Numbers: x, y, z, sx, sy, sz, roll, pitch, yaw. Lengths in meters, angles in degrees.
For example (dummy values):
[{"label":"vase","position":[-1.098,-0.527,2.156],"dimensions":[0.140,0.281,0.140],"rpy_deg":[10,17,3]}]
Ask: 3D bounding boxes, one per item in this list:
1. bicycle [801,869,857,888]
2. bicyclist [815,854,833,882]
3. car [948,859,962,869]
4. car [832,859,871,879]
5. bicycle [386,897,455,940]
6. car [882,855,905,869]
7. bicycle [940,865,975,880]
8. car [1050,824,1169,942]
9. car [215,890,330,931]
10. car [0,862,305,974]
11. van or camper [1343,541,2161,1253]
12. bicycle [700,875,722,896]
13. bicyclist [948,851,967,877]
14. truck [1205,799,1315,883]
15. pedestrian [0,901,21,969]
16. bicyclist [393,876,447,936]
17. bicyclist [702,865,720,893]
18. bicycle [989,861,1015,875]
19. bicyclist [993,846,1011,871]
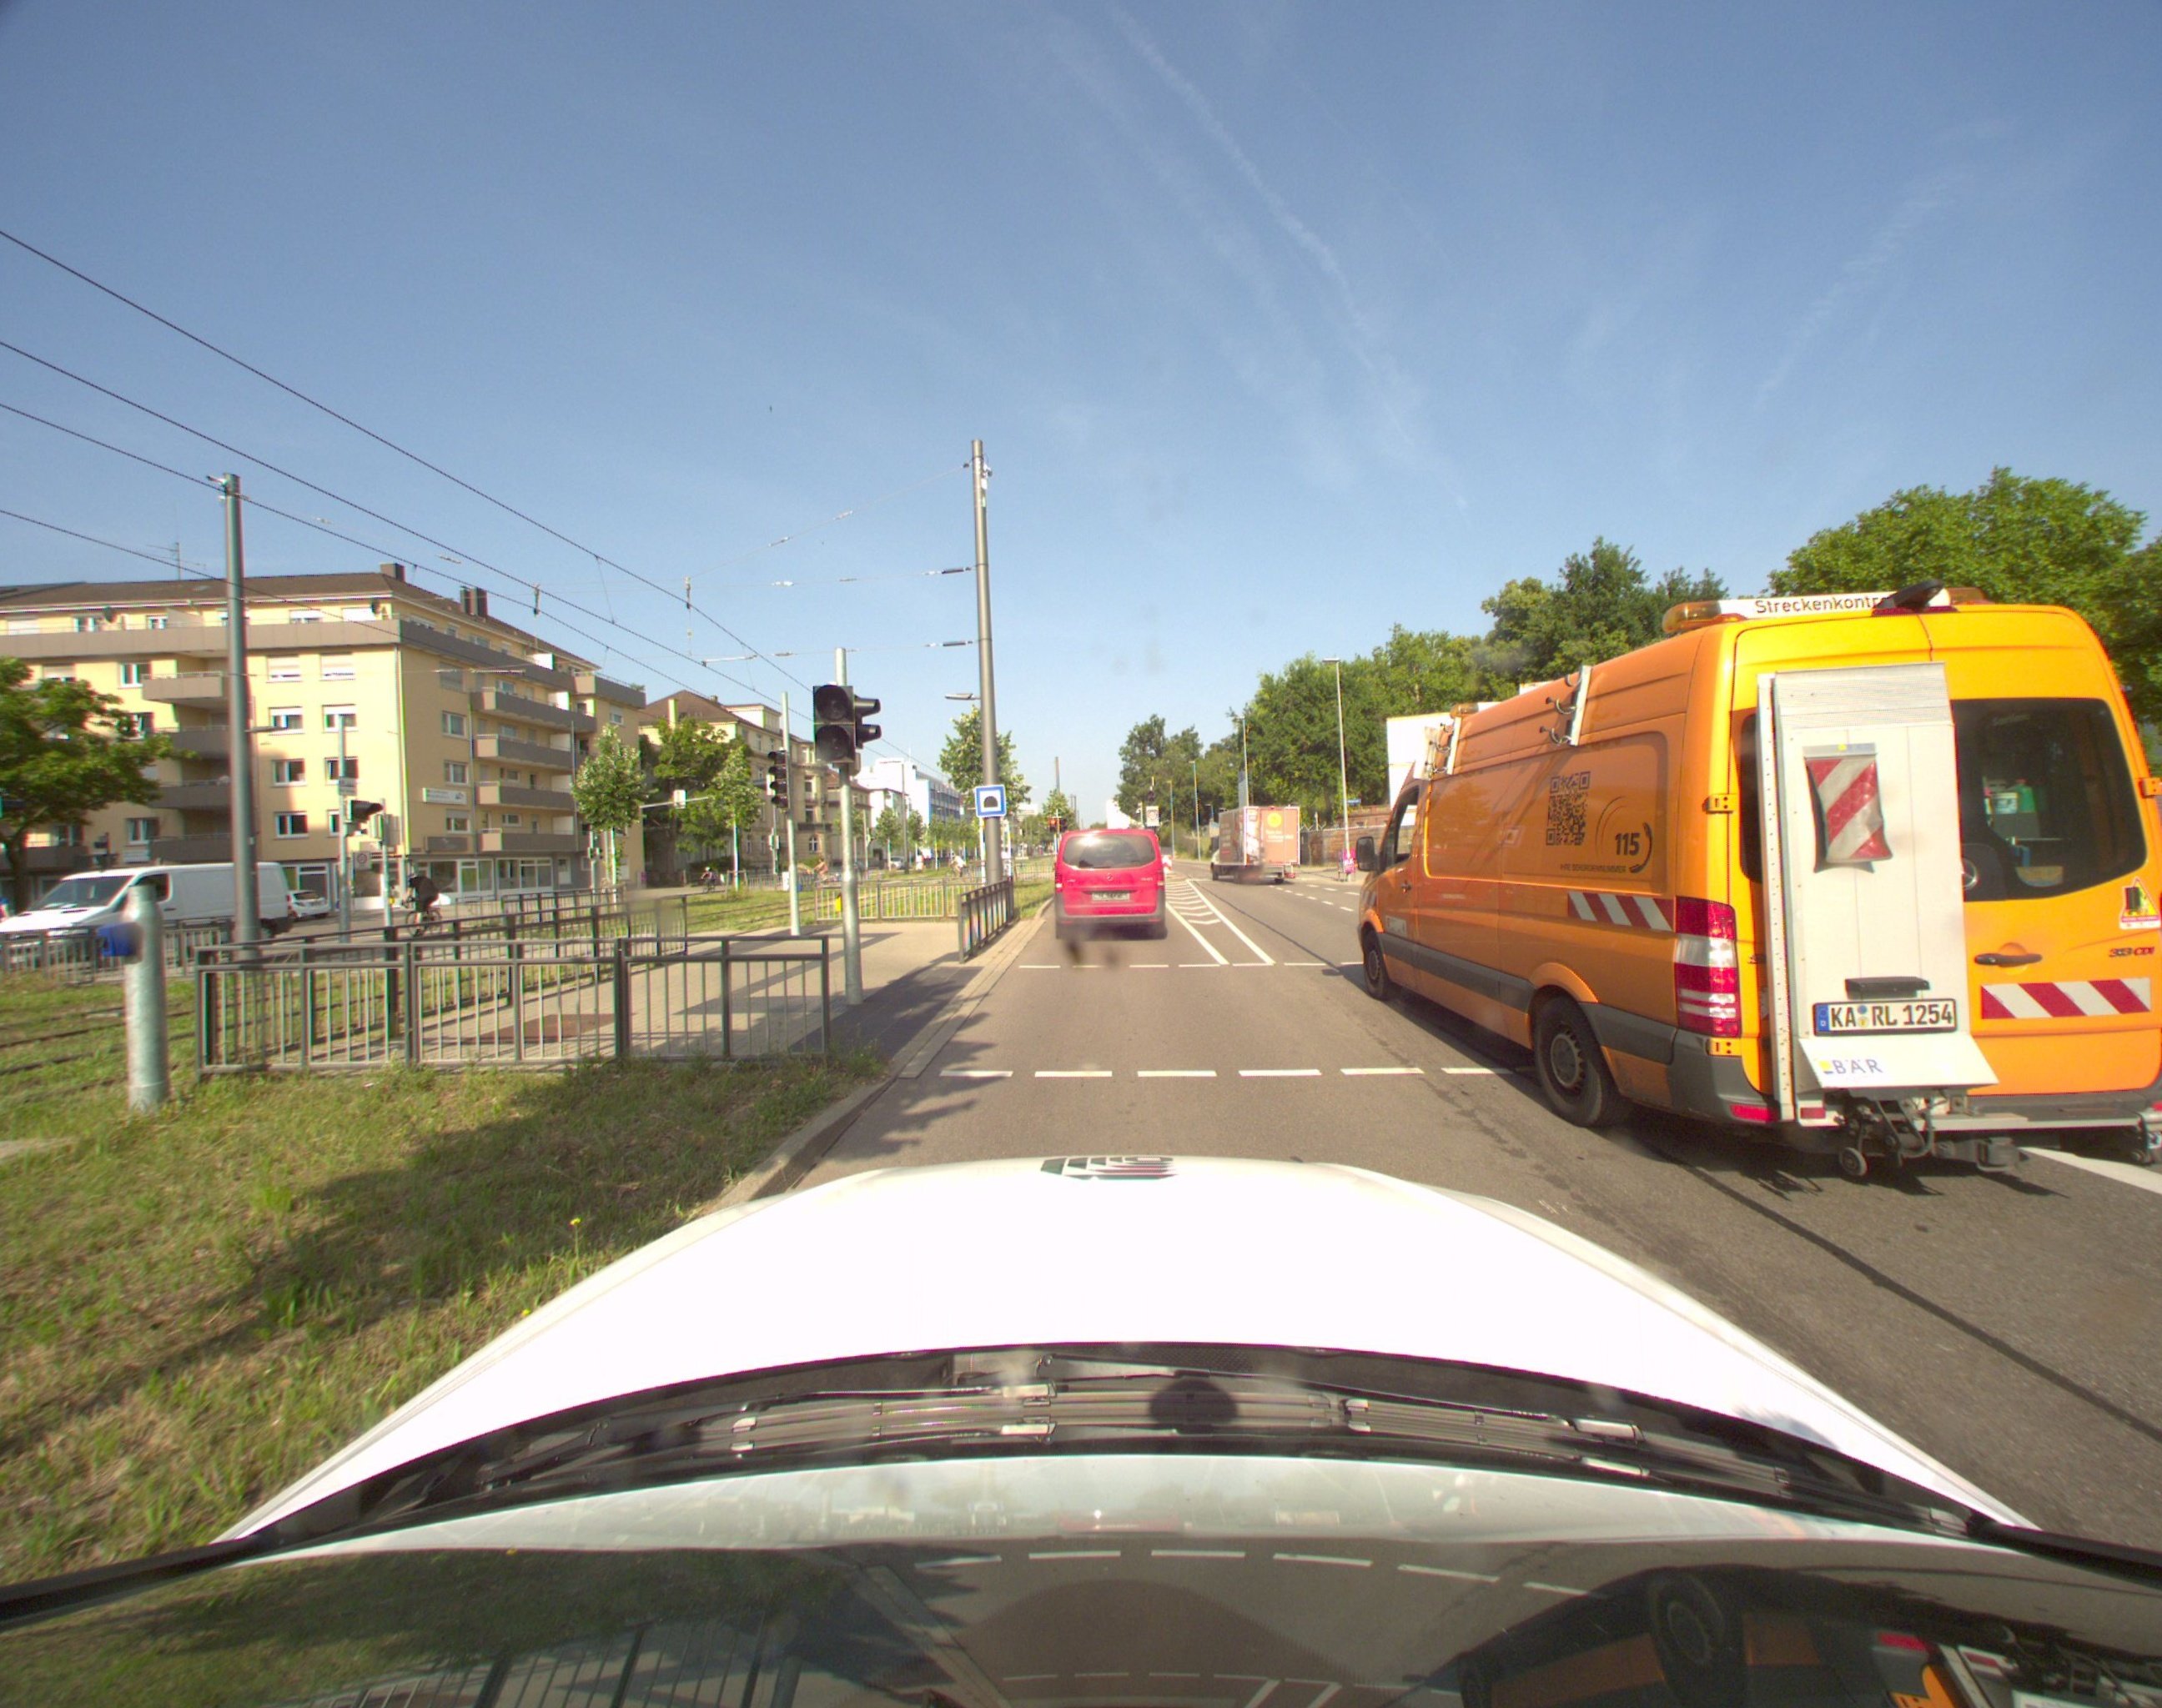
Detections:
[{"label":"bicycle","position":[-14.682,1.411,47.527],"dimensions":[2.992,0.965,0.896],"rpy_deg":[-2,0,-14]},{"label":"bicyclist","position":[-14.960,0.811,47.444],"dimensions":[0.891,1.628,0.888],"rpy_deg":[-2,0,-14]},{"label":"car","position":[-24.092,1.965,155.943],"dimensions":[1.910,1.813,4.001],"rpy_deg":[0,0,2]},{"label":"car","position":[-18.931,1.231,67.448],"dimensions":[1.987,1.513,4.397],"rpy_deg":[-2,0,-1]},{"label":"bicycle","position":[-16.642,1.626,20.511],"dimensions":[1.593,0.935,0.560],"rpy_deg":[-5,1,22]},{"label":"car","position":[-28.437,1.187,123.620],"dimensions":[2.242,2.014,5.261],"rpy_deg":[0,-2,0]},{"label":"bicycle","position":[-7.518,1.116,49.517],"dimensions":[1.990,0.793,0.629],"rpy_deg":[-3,0,-1]},{"label":"car","position":[0.549,0.459,15.010],"dimensions":[1.893,1.859,4.003],"rpy_deg":[-1,0,3]},{"label":"car","position":[-38.803,2.706,39.149],"dimensions":[3.614,1.583,1.708],"rpy_deg":[-3,3,-3]},{"label":"car","position":[-22.636,1.402,19.924],"dimensions":[2.039,2.238,5.335],"rpy_deg":[-2,0,1]},{"label":"van or camper","position":[3.660,0.122,5.869],"dimensions":[1.977,2.472,6.068],"rpy_deg":[-1,1,4]},{"label":"bicycle","position":[-24.972,2.113,54.968],"dimensions":[0.693,1.346,1.755],"rpy_deg":[-2,0,-3]},{"label":"bicyclist","position":[-7.523,0.600,49.514],"dimensions":[0.980,1.500,0.620],"rpy_deg":[-3,0,-1]},{"label":"truck","position":[7.176,-0.457,33.800],"dimensions":[2.496,3.061,7.811],"rpy_deg":[0,0,-3]},{"label":"pedestrian","position":[-27.518,2.058,20.542],"dimensions":[0.655,1.690,0.646],"rpy_deg":[-2,0,4]},{"label":"bicyclist","position":[-16.624,1.304,20.492],"dimensions":[0.962,1.395,0.549],"rpy_deg":[-5,1,22]},{"label":"bicyclist","position":[-24.989,1.664,54.994],"dimensions":[0.667,1.805,1.082],"rpy_deg":[-2,0,-4]},{"label":"bicycle","position":[-4.632,0.790,47.925],"dimensions":[0.711,0.798,1.613],"rpy_deg":[-1,0,29]},{"label":"bicyclist","position":[-4.644,0.248,47.921],"dimensions":[0.679,1.440,0.811],"rpy_deg":[-1,-1,30]}]
